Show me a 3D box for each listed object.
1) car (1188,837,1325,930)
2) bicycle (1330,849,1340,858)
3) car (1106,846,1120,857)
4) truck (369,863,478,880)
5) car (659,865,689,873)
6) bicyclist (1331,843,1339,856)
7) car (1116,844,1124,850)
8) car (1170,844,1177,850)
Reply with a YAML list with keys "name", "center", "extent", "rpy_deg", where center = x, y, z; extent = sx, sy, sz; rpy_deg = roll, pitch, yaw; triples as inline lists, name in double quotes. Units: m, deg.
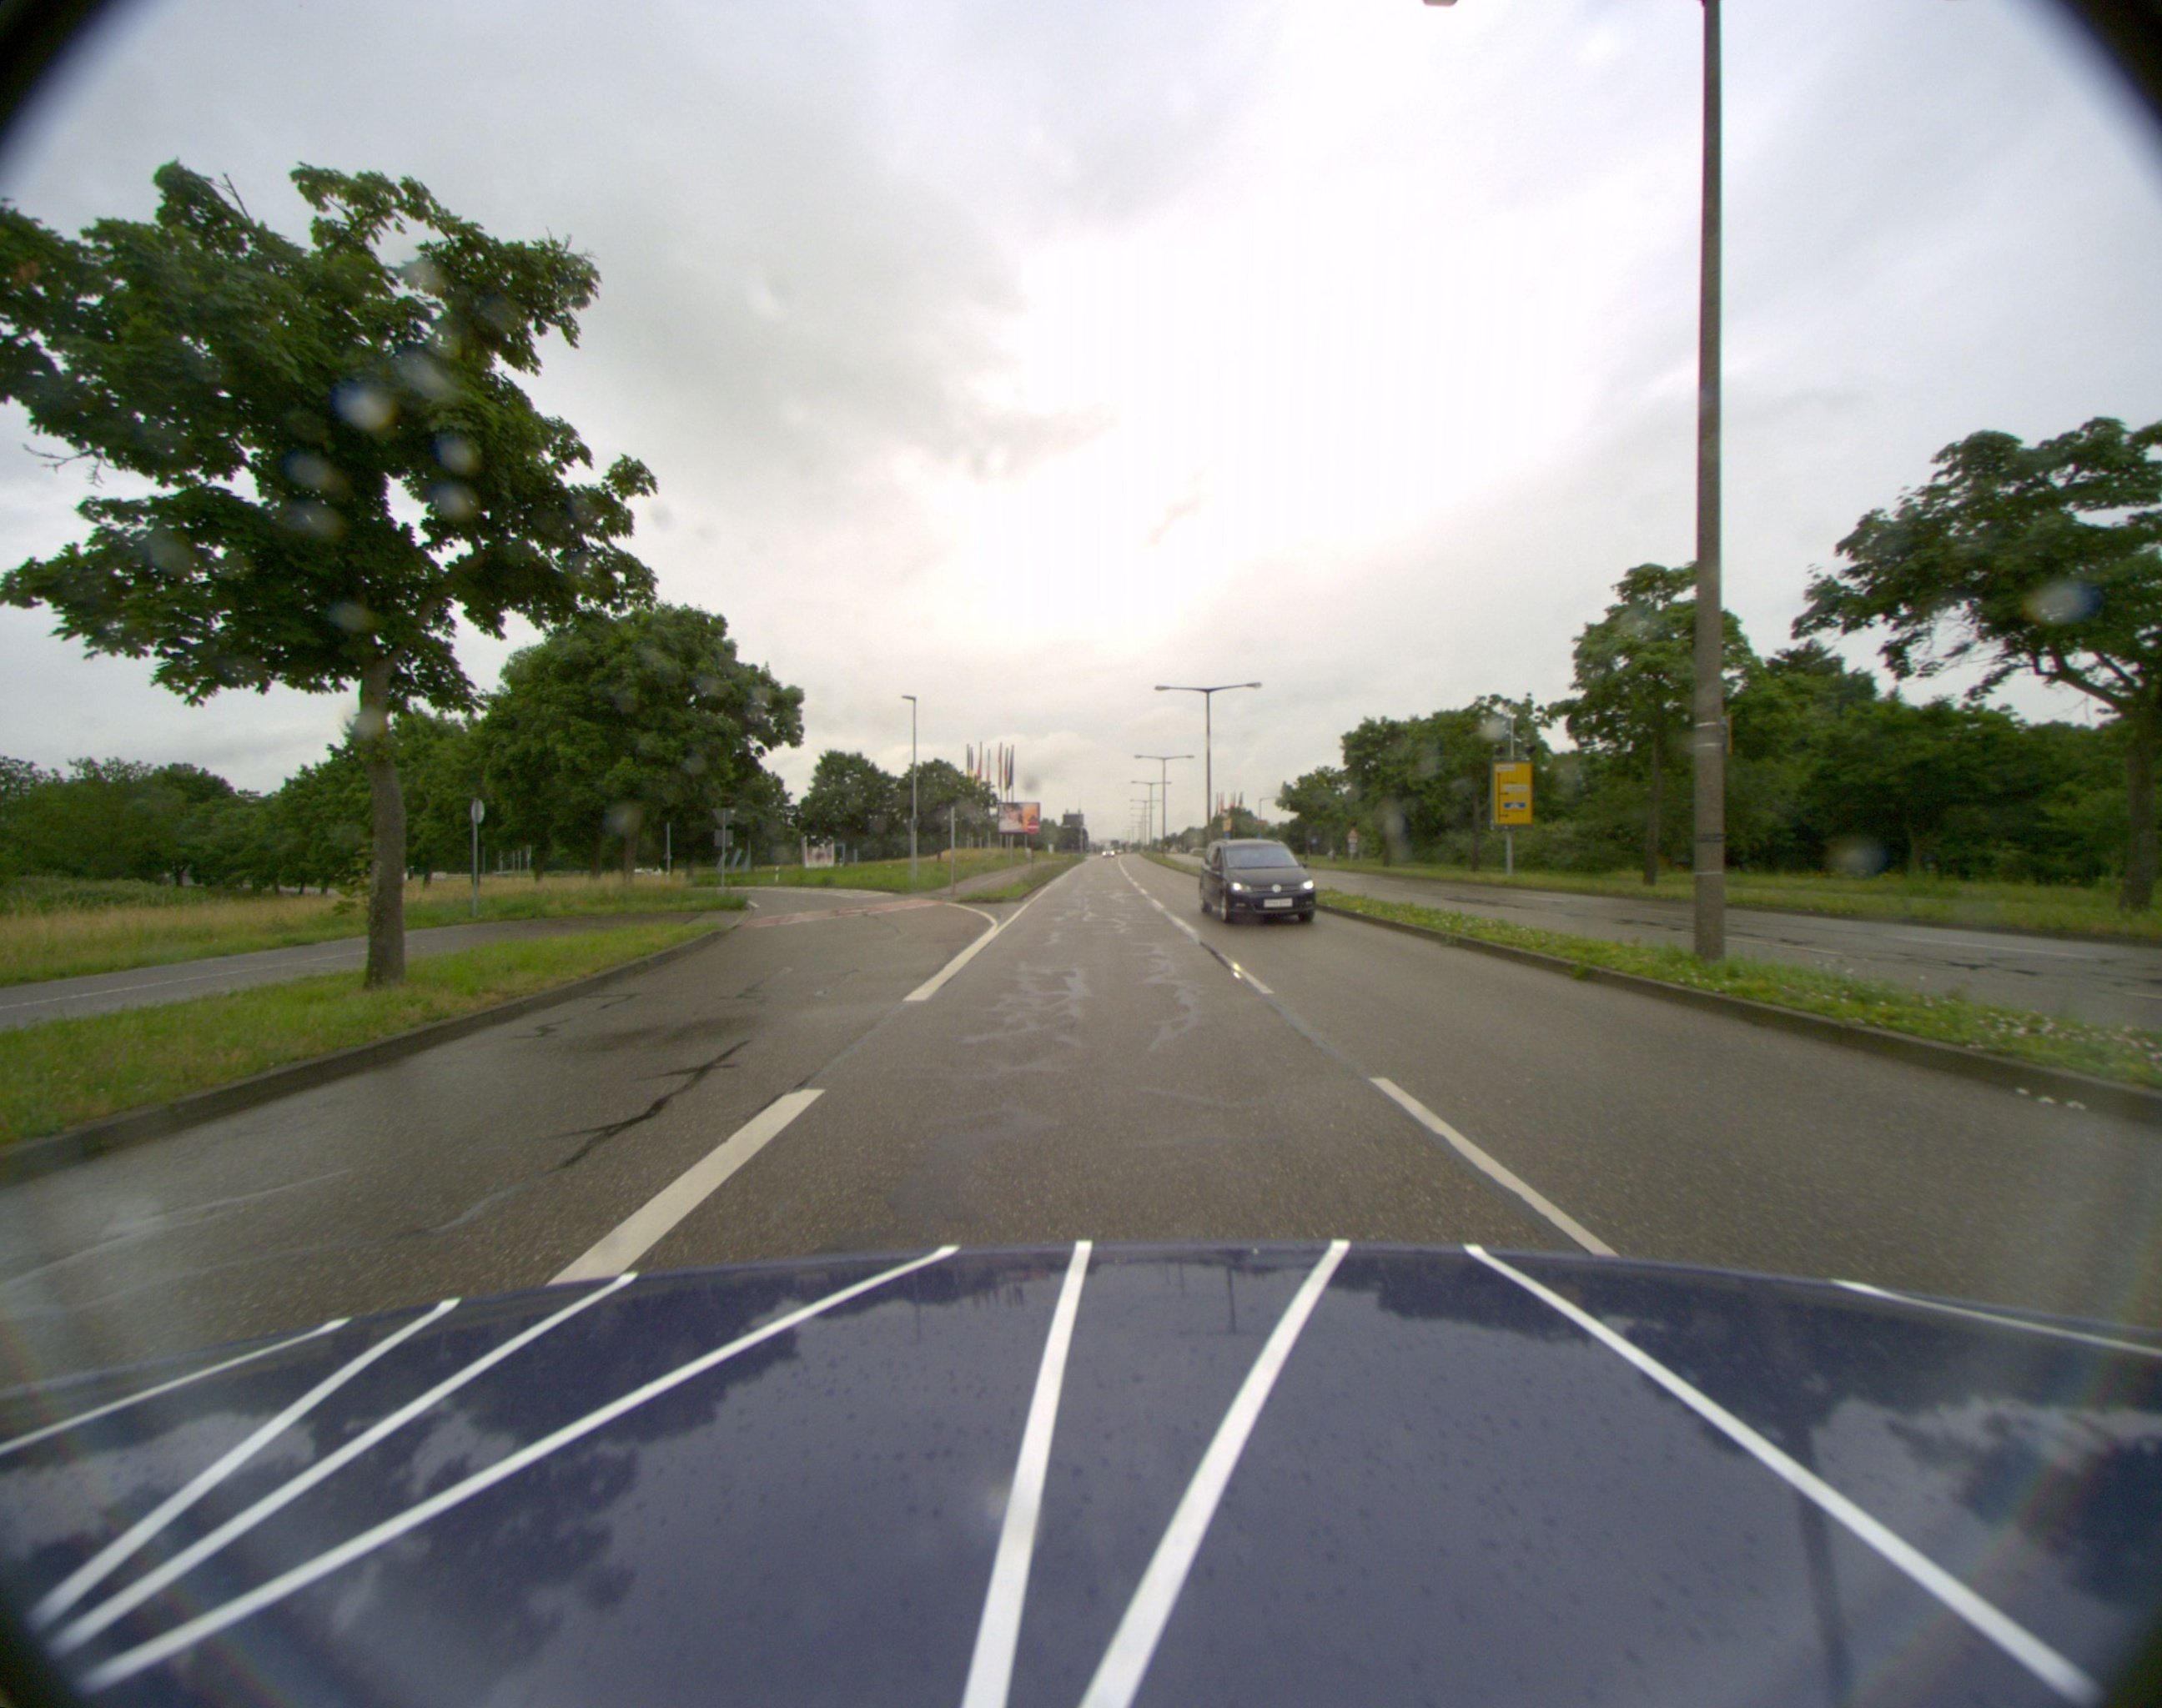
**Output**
- name: "car"
  center: [3.652, 0.549, 16.740]
  extent: [1.850, 1.740, 4.817]
  rpy_deg: [-1, 0, 0]
- name: "bicycle"
  center: [25.428, -0.054, 76.153]
  extent: [0.523, 0.881, 1.633]
  rpy_deg: [-2, 1, 3]
- name: "car"
  center: [4.960, -0.424, 118.236]
  extent: [1.998, 1.701, 4.000]
  rpy_deg: [-1, 1, 2]
- name: "truck"
  center: [-118.406, 3.122, 137.197]
  extent: [14.636, 2.715, 3.501]
  rpy_deg: [-1, 1, -17]
- name: "car"
  center: [-86.864, 3.179, 162.059]
  extent: [5.293, 1.598, 2.237]
  rpy_deg: [-1, 1, -18]
- name: "bicyclist"
  center: [25.416, -0.433, 76.139]
  extent: [0.523, 1.295, 0.808]
  rpy_deg: [-2, 1, 3]
- name: "car"
  center: [9.996, -1.827, 196.341]
  extent: [1.998, 1.703, 4.000]
  rpy_deg: [-1, 0, 2]
- name: "car"
  center: [25.724, -1.920, 211.056]
  extent: [1.711, 1.620, 4.493]
  rpy_deg: [2, -1, 3]
